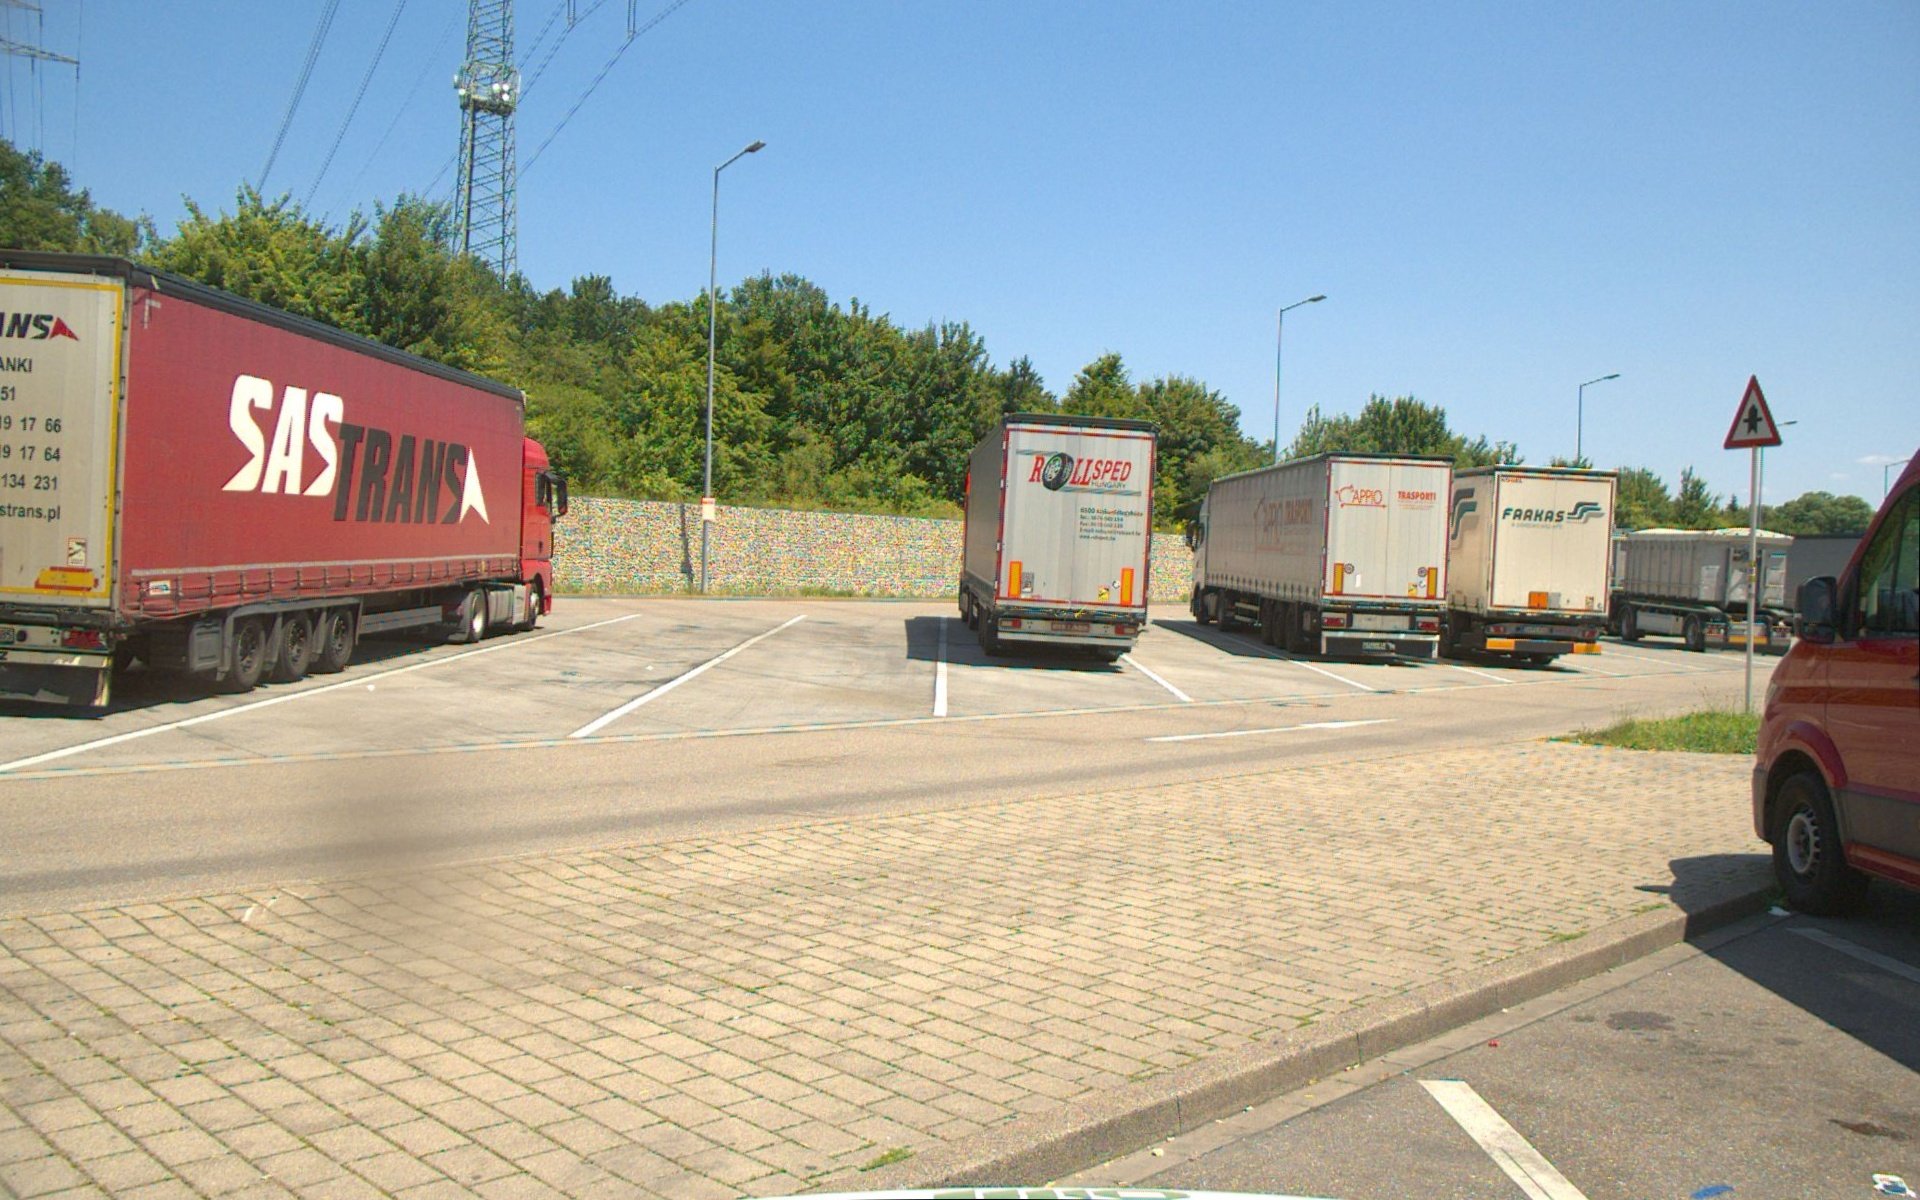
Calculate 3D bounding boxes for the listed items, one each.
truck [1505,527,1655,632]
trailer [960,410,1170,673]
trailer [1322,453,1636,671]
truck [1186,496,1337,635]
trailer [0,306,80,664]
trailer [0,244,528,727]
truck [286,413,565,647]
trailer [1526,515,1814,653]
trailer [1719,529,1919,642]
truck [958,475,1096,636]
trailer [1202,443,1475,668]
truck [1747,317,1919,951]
[{"bbox_3d":[21.728,-0.790,58.324,2.808,3.421,5.974,2,2,-1],"label":"truck"},{"bbox_3d":[1.666,-1.172,33.133,2.800,4.040,13.761,2,2,-2],"label":"trailer"},{"bbox_3d":[11.759,-0.988,39.550,2.800,4.180,13.762,2,2,-1],"label":"trailer"},{"bbox_3d":[8.117,-0.980,45.248,2.808,3.421,5.974,2,2,-1],"label":"truck"},{"bbox_3d":[-12.498,-1.256,15.779,2.651,4.173,10.389,2,2,-1],"label":"trailer"},{"bbox_3d":[-8.701,-1.267,21.236,2.764,4.141,13.763,2,2,-1],"label":"trailer"},{"bbox_3d":[-8.809,-1.158,28.052,2.755,3.421,5.974,2,2,-1],"label":"truck"},{"bbox_3d":[21.826,-0.677,52.229,2.800,3.662,13.762,2,2,-1],"label":"trailer"},{"bbox_3d":[34.779,-0.705,65.428,2.800,3.972,13.762,2,2,-1],"label":"trailer"},{"bbox_3d":[1.465,-1.087,39.330,2.808,3.421,5.974,2,2,-1],"label":"truck"},{"bbox_3d":[8.240,-1.098,38.486,2.800,4.180,13.762,2,2,-1],"label":"trailer"},{"bbox_3d":[4.983,0.155,5.502,1.969,2.697,6.457,1,0,3],"label":"truck"}]
